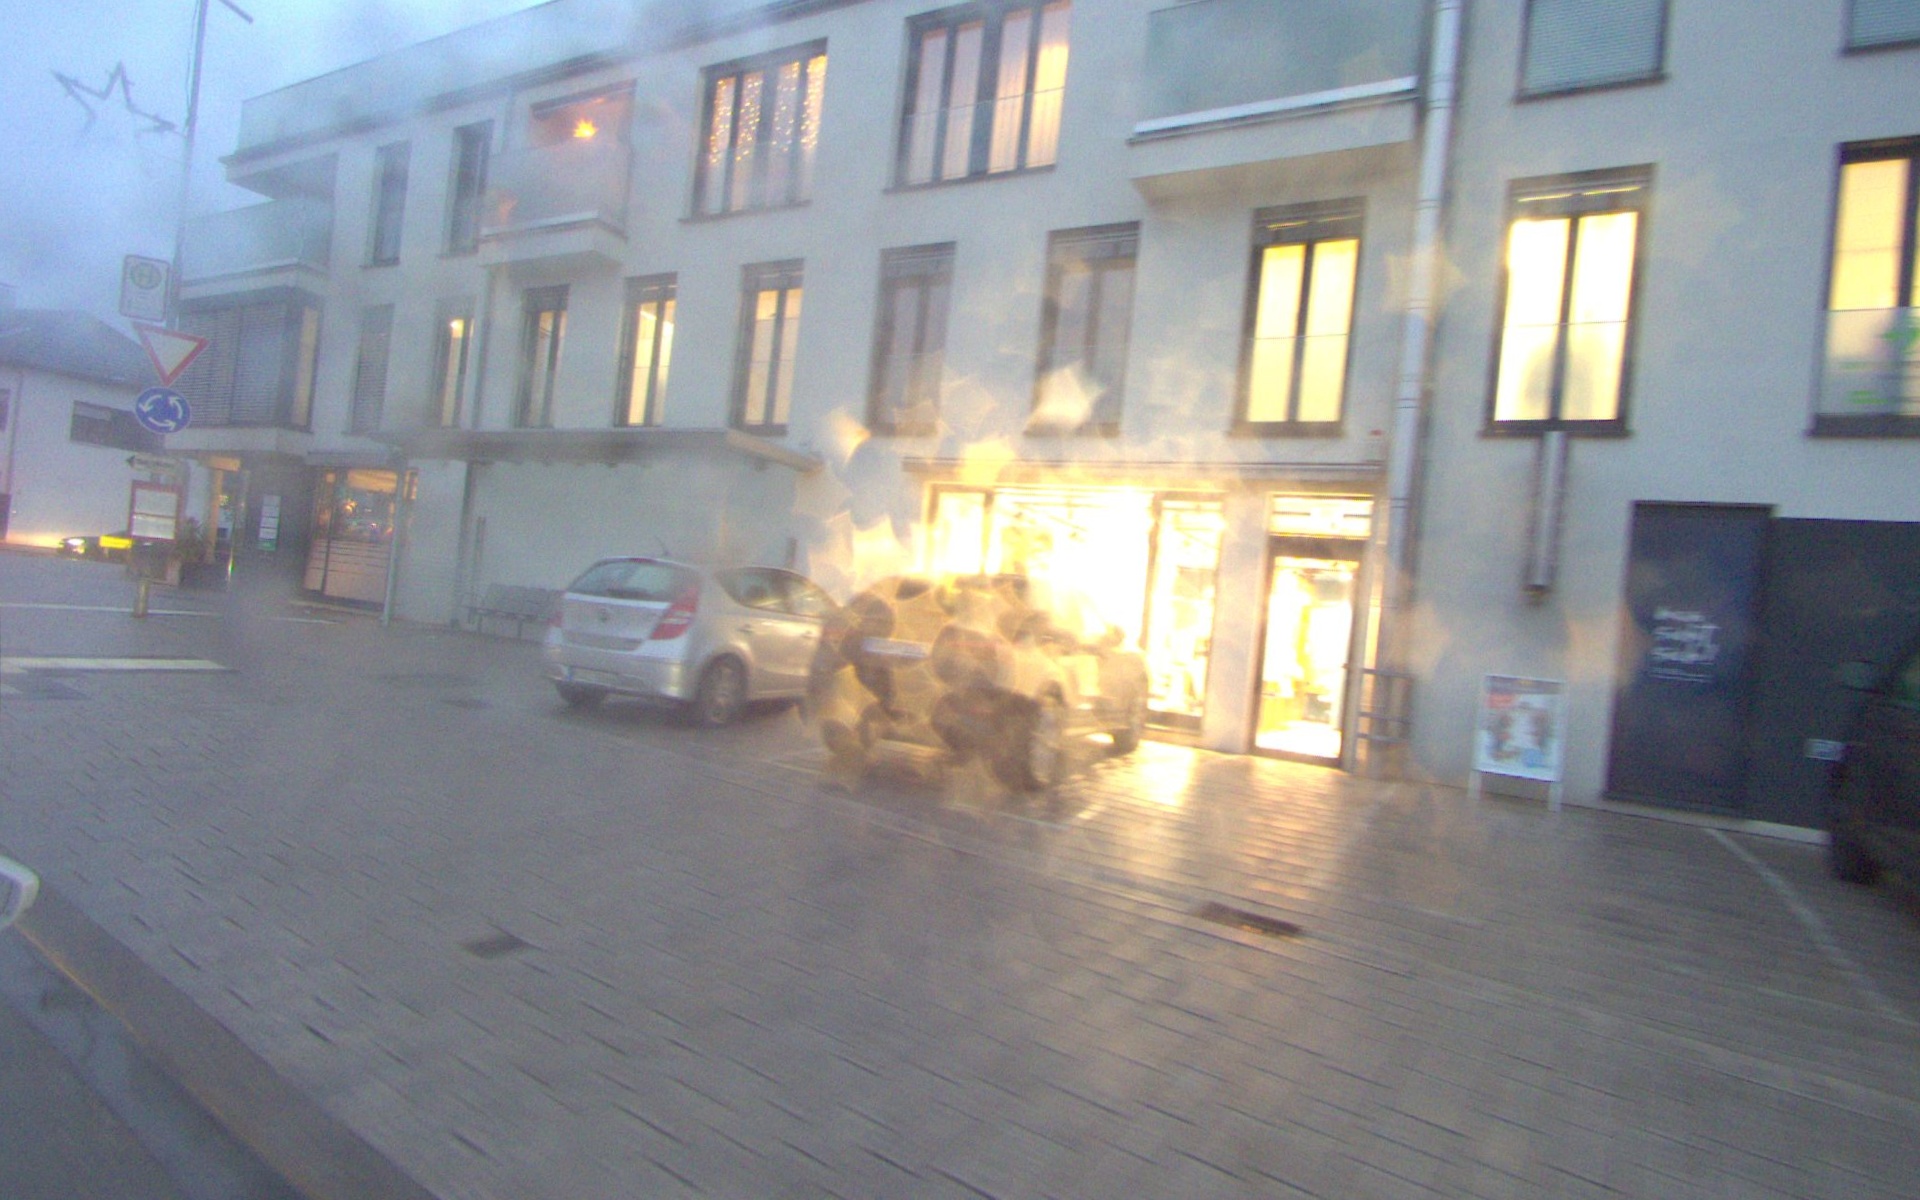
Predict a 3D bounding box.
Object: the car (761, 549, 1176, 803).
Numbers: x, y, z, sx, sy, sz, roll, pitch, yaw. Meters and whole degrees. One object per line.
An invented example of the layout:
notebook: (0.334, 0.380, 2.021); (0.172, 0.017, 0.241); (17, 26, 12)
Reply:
car: (0.412, 0.496, 8.801); (1.939, 1.512, 4.515); (4, 1, 23)

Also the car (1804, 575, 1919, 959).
car: (5.840, 0.943, 4.650); (1.941, 1.961, 4.539); (8, 4, 29)

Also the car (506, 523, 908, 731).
car: (-2.251, 0.253, 10.110); (1.780, 1.522, 3.996); (6, 1, 22)
